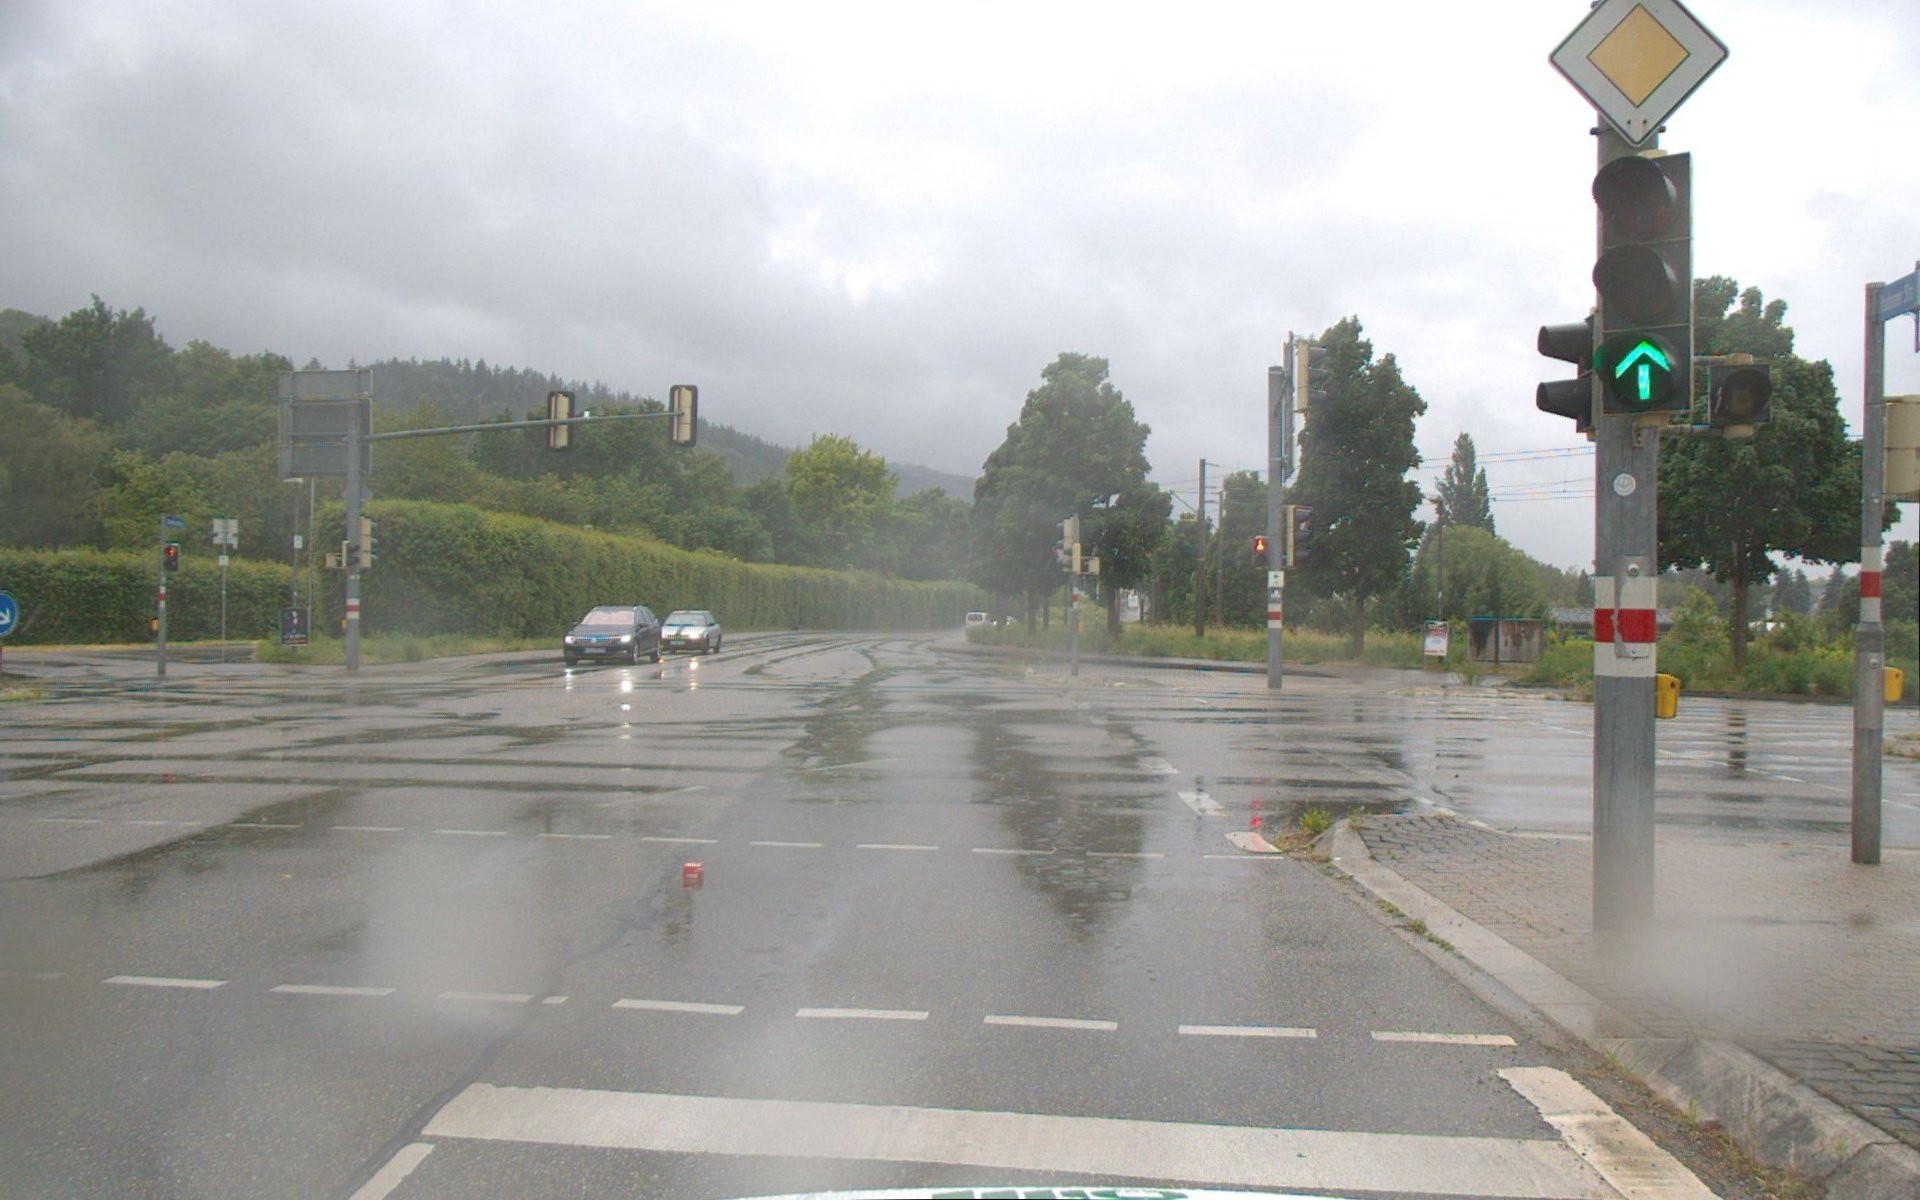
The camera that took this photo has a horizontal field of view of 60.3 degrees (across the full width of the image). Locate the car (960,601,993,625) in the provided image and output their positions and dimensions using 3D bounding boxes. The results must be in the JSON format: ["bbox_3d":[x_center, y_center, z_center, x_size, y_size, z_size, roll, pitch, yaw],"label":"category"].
[{"bbox_3d":[1.375,1.080,137.166,1.912,1.937,4.123,0,0,13],"label":"car"}]

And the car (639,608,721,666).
[{"bbox_3d":[-9.023,1.153,53.631,1.995,1.738,4.065,1,0,-1],"label":"car"}]

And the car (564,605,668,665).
[{"bbox_3d":[-8.932,0.876,43.278,1.673,1.491,4.454,0,0,2],"label":"car"}]
